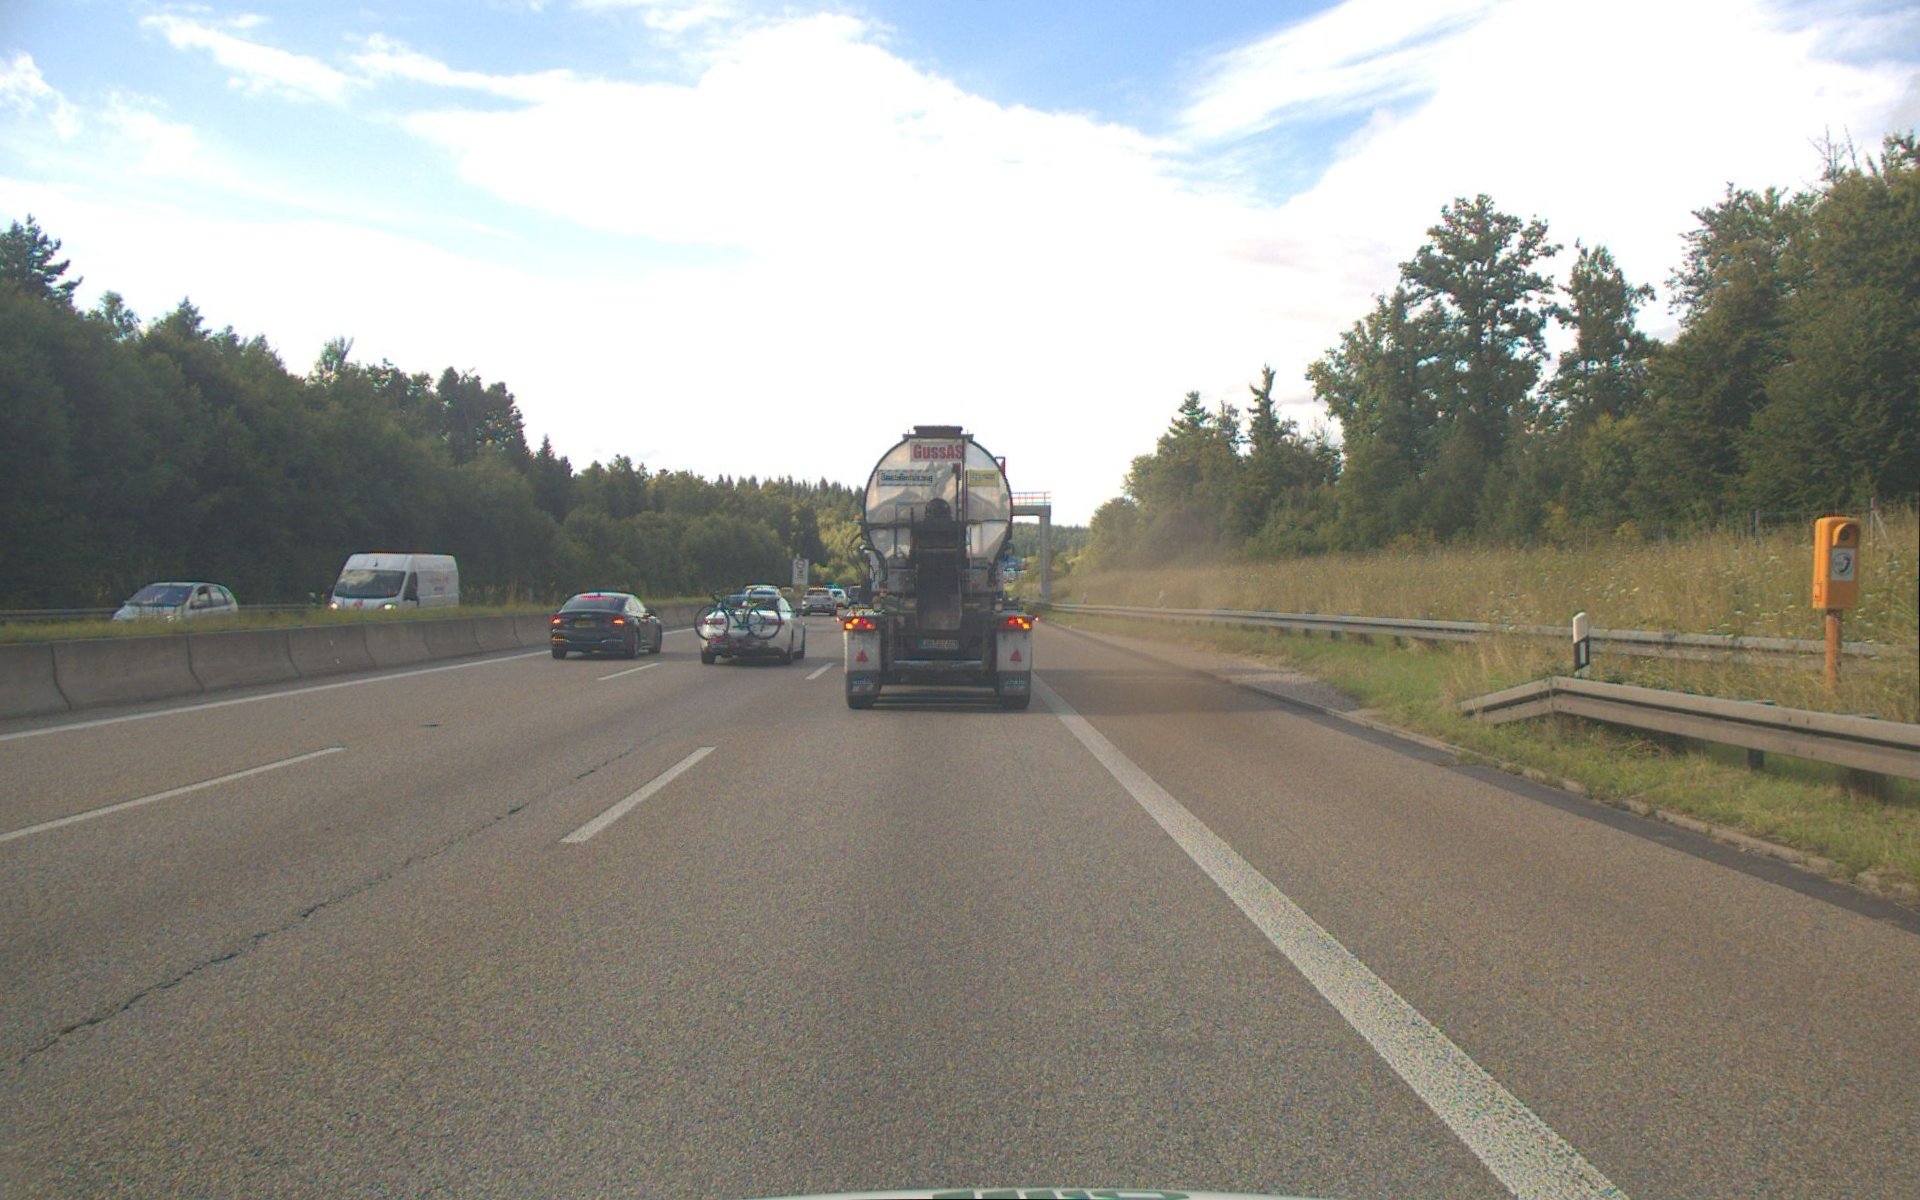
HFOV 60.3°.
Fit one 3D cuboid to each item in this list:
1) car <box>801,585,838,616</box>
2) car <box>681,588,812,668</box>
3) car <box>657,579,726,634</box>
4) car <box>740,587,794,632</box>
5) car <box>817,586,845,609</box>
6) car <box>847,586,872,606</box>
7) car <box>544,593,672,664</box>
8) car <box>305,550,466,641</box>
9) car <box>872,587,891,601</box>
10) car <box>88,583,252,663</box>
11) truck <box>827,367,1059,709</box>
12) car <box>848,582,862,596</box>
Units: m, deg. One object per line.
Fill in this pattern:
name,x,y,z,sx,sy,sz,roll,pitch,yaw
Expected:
car,-7.868,0.022,92.655,1.770,1.613,4.206,1,1,-1
car,-4.327,0.522,34.433,2.018,1.525,5.735,0,0,0
car,-9.080,0.201,56.264,1.808,1.814,3.999,0,0,-2
car,-6.902,0.329,59.413,1.585,1.571,3.519,1,0,-1
car,-9.212,-0.192,118.183,1.770,1.613,4.206,1,1,-1
car,-8.351,-0.360,137.543,1.903,1.613,4.206,1,1,-1
car,-7.694,0.574,36.582,1.818,1.456,4.840,0,0,-1
car,-15.994,-0.138,46.476,2.526,2.387,5.828,0,0,-1
car,-8.647,-0.690,181.867,1.903,1.482,4.206,1,1,-1
car,-19.240,0.522,40.529,1.885,1.837,4.492,0,0,-1
truck,-0.236,-0.803,26.113,2.853,4.230,11.269,0,0,0
car,-15.766,-1.660,248.813,1.953,2.049,4.070,0,0,-2
